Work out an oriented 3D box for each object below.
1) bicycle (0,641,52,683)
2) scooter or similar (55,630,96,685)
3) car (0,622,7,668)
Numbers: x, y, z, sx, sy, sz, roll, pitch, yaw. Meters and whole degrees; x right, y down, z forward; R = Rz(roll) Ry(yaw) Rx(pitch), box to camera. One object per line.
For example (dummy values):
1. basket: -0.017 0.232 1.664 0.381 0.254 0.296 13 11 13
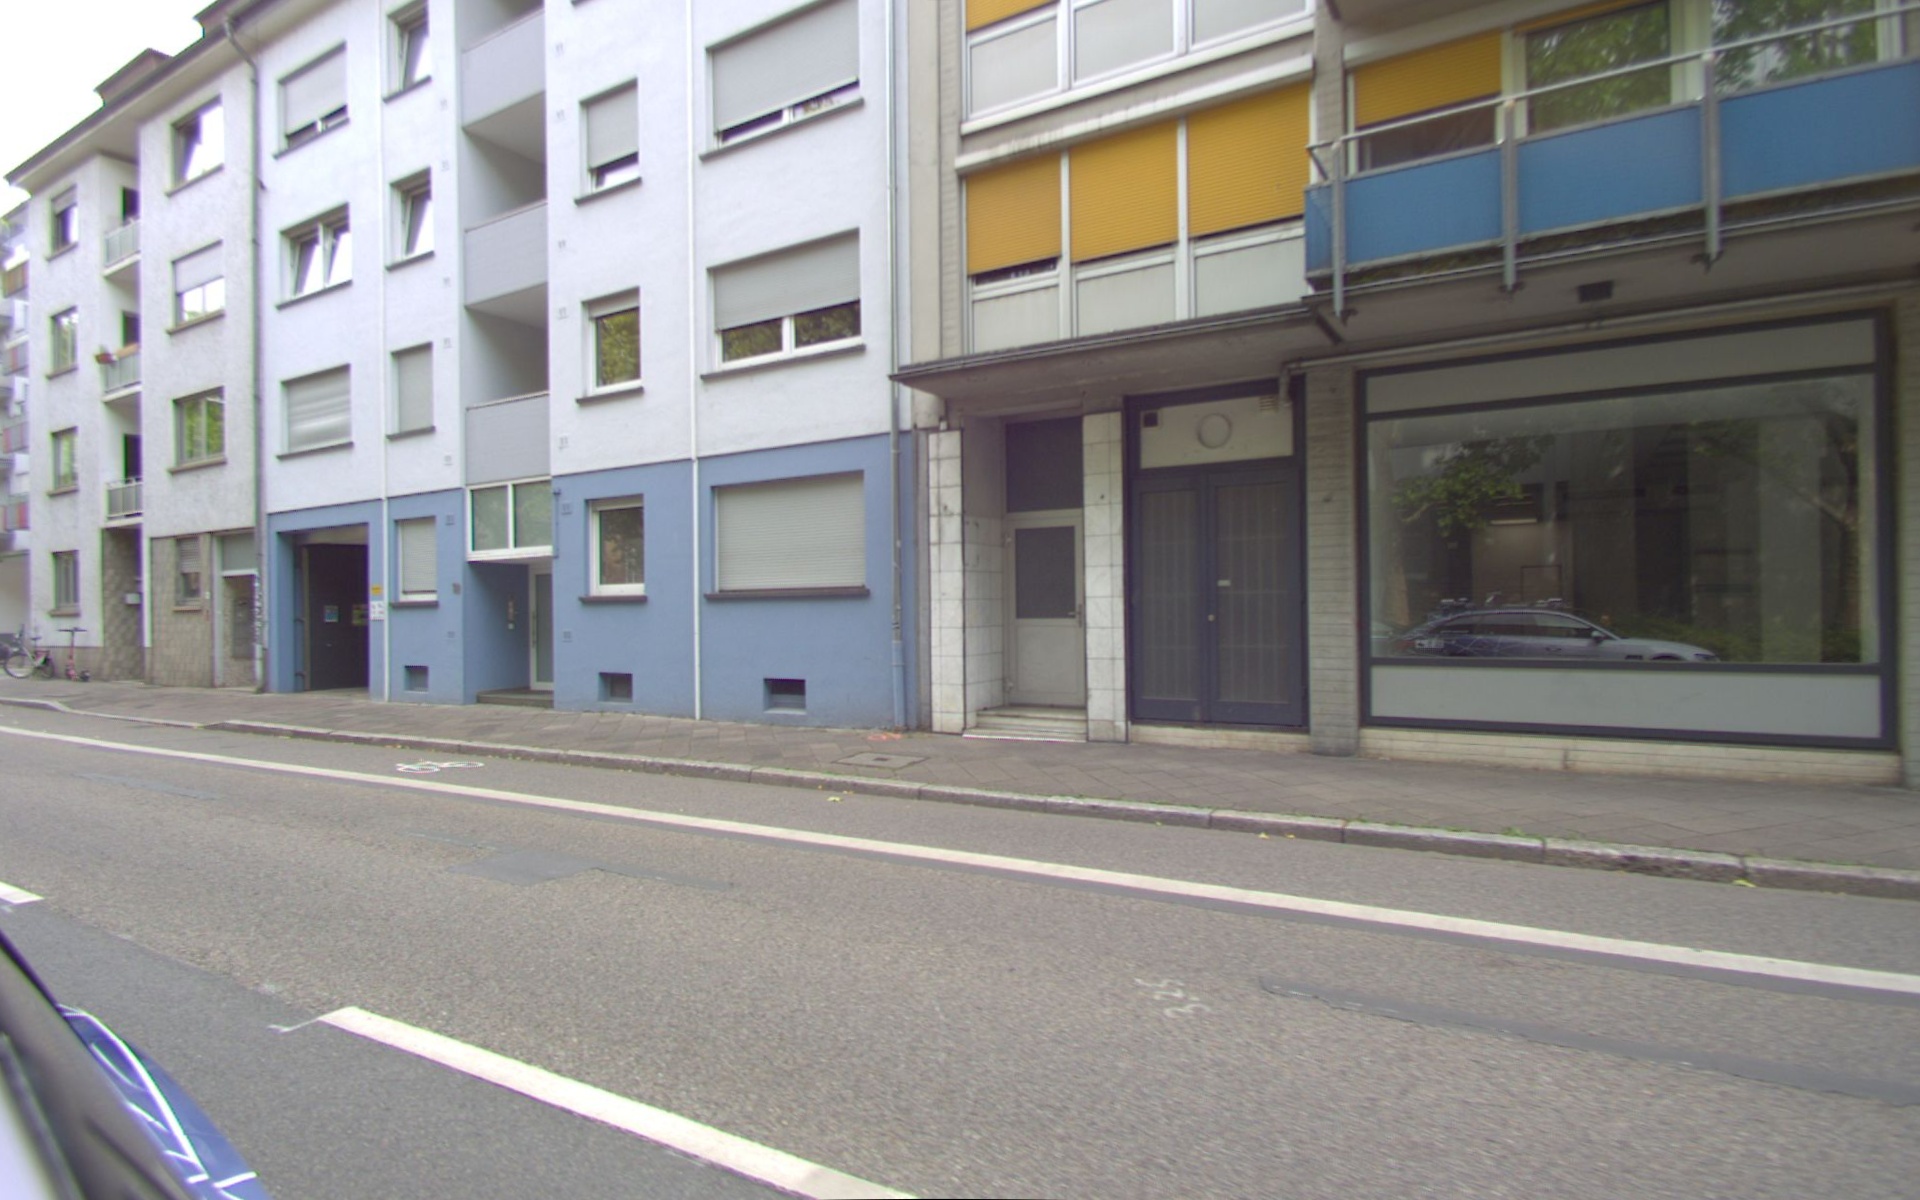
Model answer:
1. bicycle: -22.668 1.490 24.471 1.657 0.957 0.592 -2 0 32
2. scooter or similar: -20.288 1.314 23.205 1.198 1.231 0.347 -2 0 32
3. car: -33.710 1.594 32.531 1.831 1.524 4.120 -2 1 32
